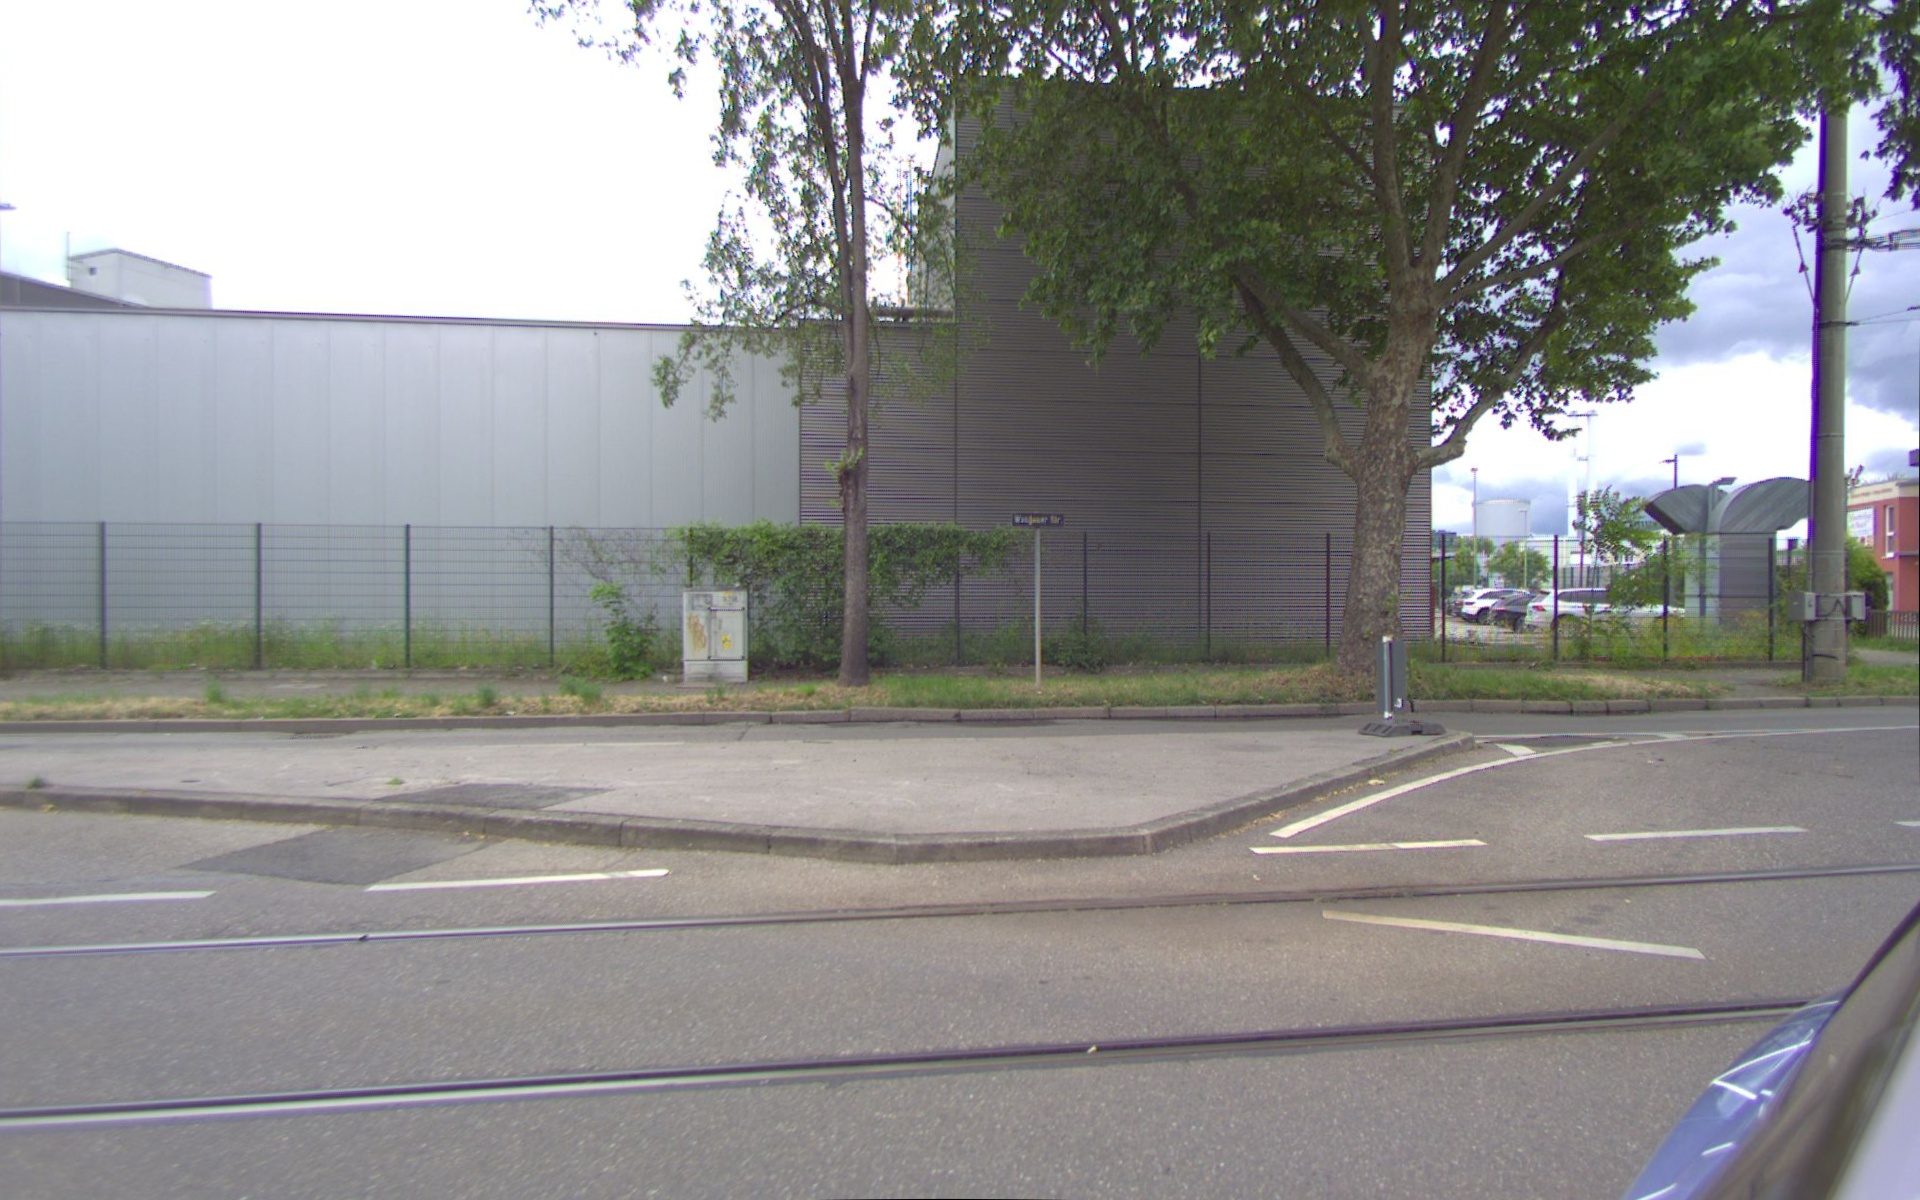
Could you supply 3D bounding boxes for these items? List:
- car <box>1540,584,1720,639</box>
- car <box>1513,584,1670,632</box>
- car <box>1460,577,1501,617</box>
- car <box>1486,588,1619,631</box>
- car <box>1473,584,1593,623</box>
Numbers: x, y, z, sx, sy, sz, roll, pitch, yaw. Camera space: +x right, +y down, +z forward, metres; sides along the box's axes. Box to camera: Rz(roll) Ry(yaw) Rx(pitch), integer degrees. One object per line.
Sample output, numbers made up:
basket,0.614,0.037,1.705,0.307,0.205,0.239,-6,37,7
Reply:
car,21.361,0.337,32.483,4.445,1.686,1.987,0,0,20
car,22.755,0.262,36.676,4.445,1.686,1.987,0,0,20
car,42.657,-0.182,83.071,1.947,3.001,5.556,-1,-2,17
car,24.409,0.365,41.878,4.445,1.686,1.987,0,0,20
car,25.903,0.137,45.923,4.445,1.686,1.987,0,0,20
